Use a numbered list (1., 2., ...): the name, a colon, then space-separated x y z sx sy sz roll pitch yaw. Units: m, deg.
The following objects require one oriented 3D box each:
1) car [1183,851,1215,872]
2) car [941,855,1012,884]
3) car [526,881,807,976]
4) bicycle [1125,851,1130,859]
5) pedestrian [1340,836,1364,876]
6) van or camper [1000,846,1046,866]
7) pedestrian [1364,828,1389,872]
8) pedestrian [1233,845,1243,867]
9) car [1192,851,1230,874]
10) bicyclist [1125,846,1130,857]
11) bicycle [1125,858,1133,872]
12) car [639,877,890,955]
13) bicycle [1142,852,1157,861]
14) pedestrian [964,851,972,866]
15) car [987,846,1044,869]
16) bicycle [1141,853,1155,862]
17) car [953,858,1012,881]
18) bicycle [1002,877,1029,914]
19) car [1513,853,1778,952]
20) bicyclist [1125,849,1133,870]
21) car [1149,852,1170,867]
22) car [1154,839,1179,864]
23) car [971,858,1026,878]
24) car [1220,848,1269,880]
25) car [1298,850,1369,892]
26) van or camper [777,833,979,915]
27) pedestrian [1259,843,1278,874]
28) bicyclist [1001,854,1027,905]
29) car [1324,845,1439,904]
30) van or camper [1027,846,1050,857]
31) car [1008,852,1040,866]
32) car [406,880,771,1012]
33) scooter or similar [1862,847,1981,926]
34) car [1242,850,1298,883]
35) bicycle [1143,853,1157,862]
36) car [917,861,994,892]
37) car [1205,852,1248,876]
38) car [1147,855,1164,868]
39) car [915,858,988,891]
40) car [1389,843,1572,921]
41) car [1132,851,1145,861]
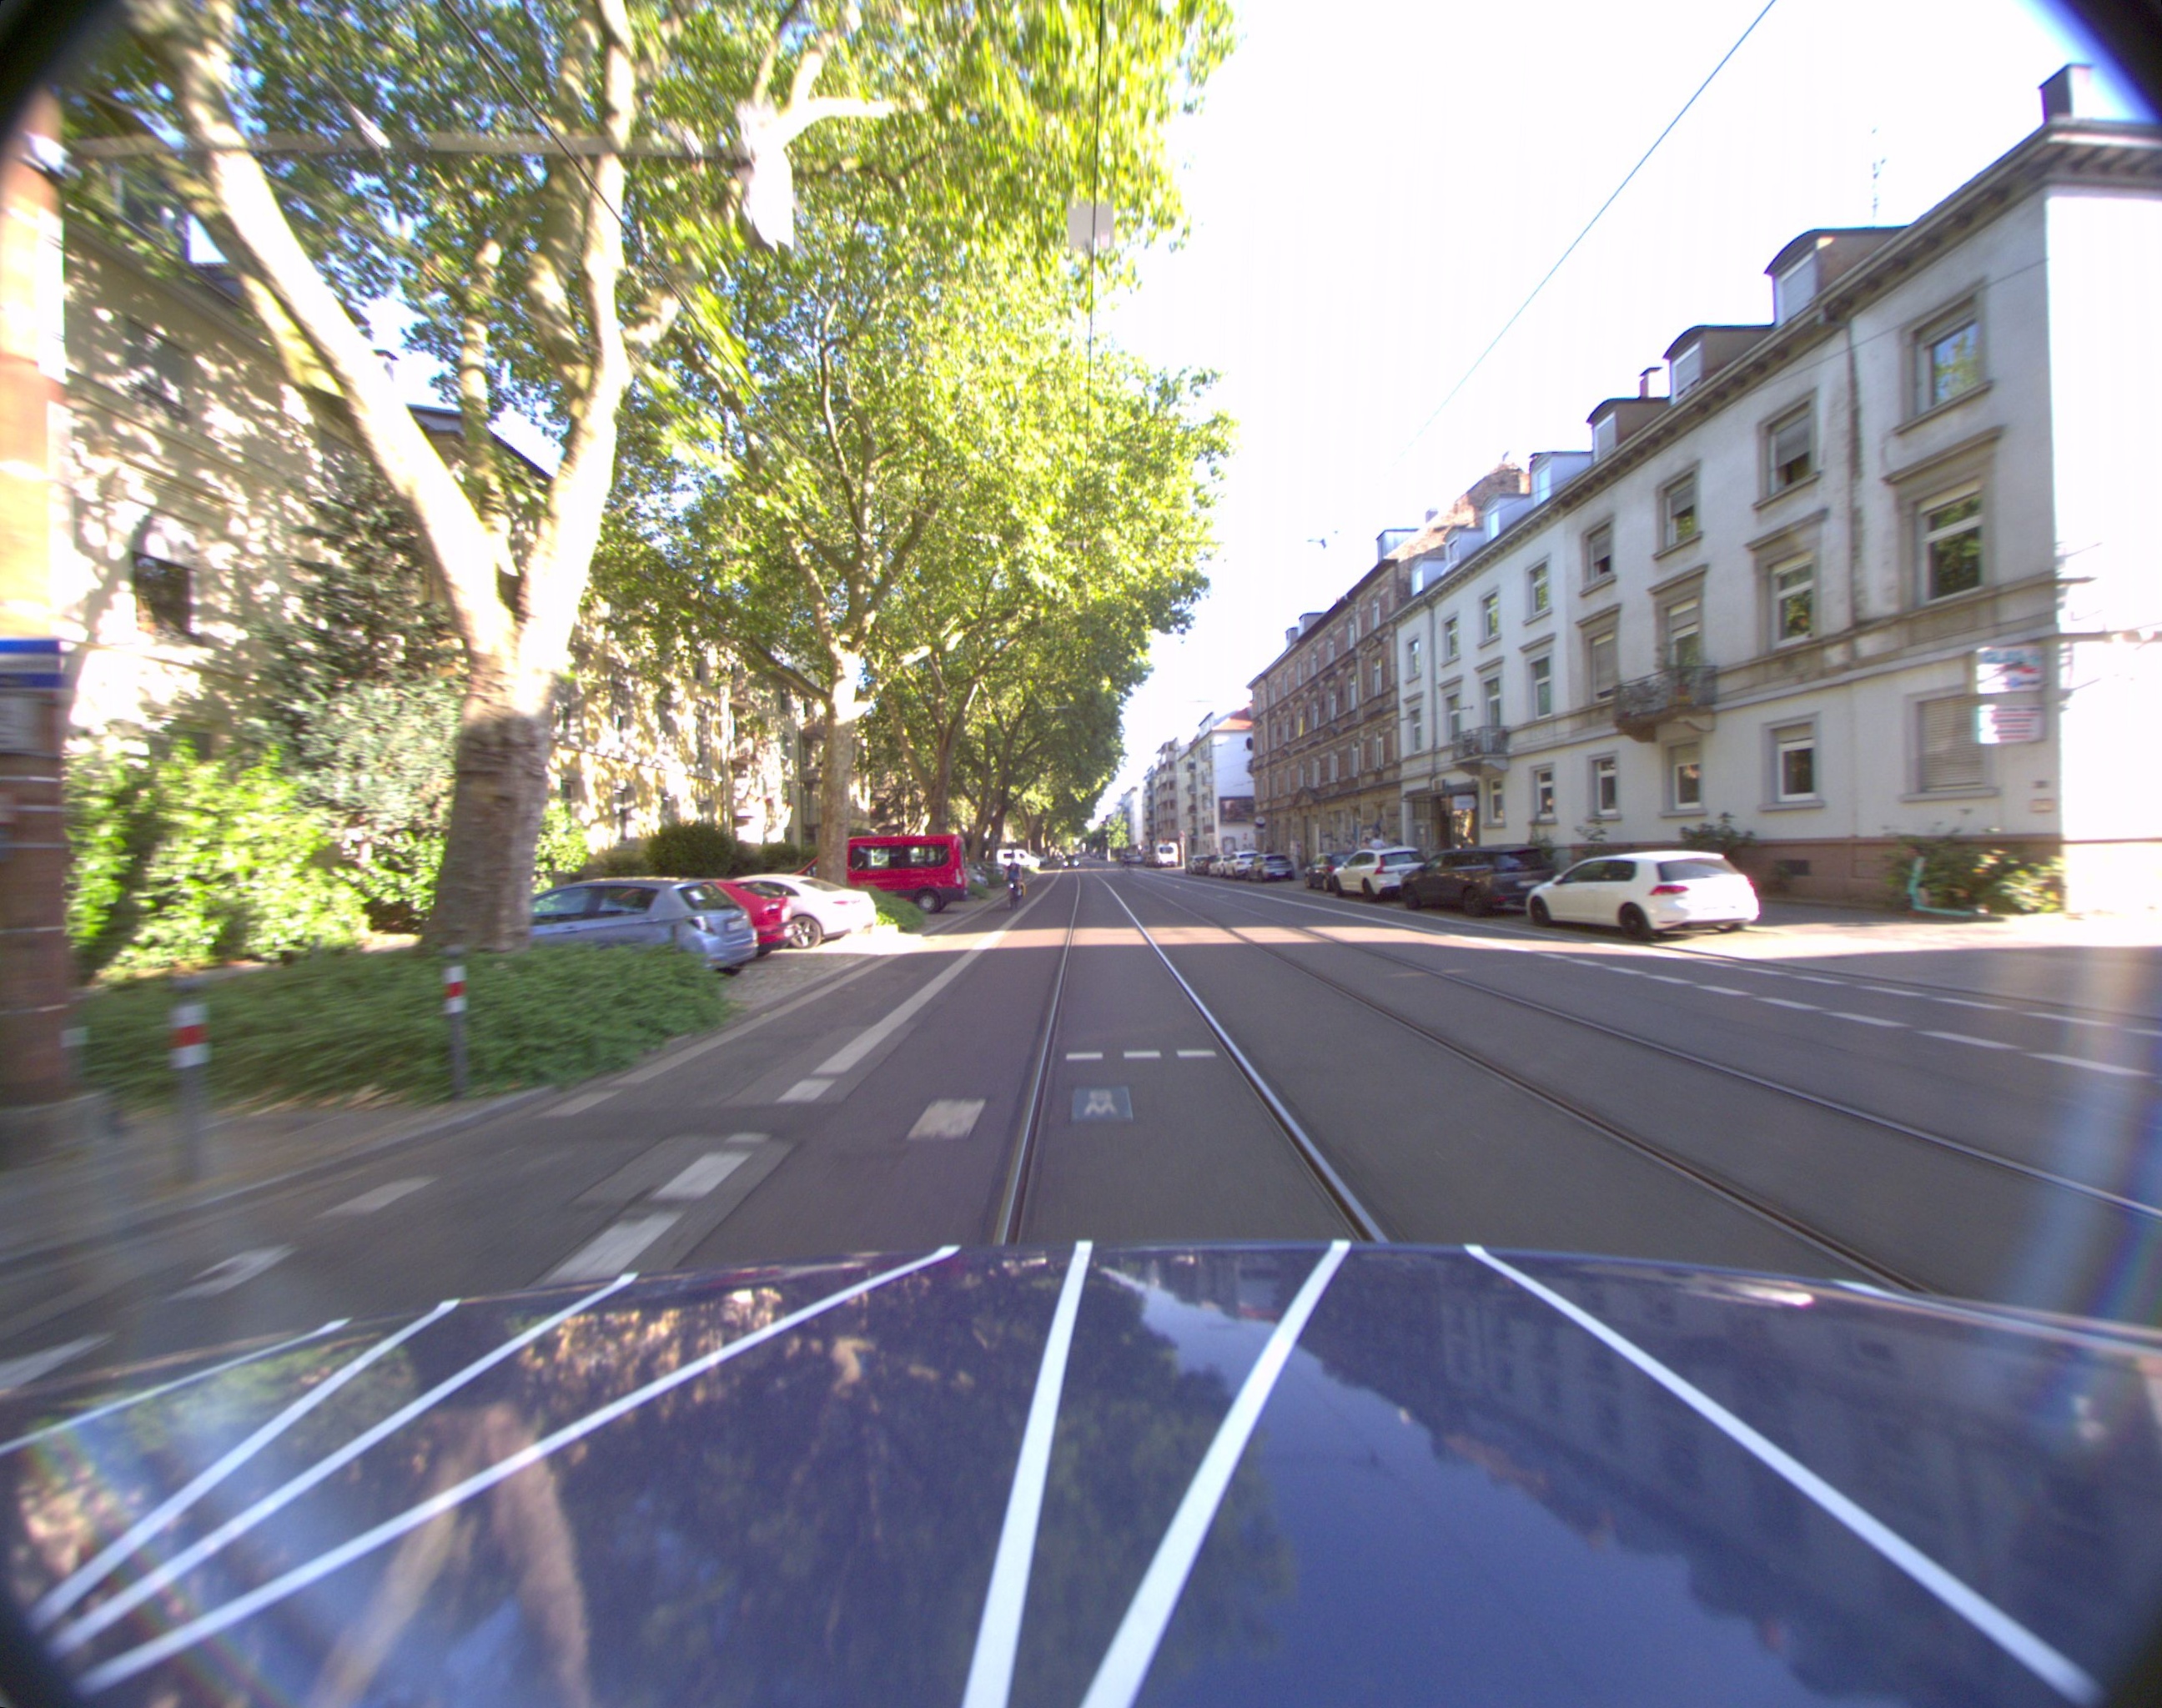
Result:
1. car: 9.439 0.582 60.807 1.745 1.483 4.044 -3 1 -2
2. car: -6.535 0.962 47.833 4.274 1.709 1.848 1 0 -3
3. car: -6.780 1.190 12.769 3.762 1.379 1.680 0 0 -6
4. bicycle: 6.688 0.126 109.642 0.422 1.144 2.231 -1 1 -1
5. pedestrian: 12.629 0.075 35.431 0.761 1.810 0.829 -2 1 -3
6. van or camper: -7.832 0.241 102.933 6.048 2.476 2.107 -1 1 -1
7. pedestrian: 13.767 -0.179 35.451 0.761 2.002 0.830 -2 1 -3
8. pedestrian: 12.922 0.151 62.573 0.658 1.738 0.894 -3 -1 3
9. car: 9.491 0.597 55.689 1.745 1.553 4.785 -3 1 -2
10. bicyclist: 6.733 -0.361 109.555 0.584 1.473 0.807 -1 1 -1
11. bicycle: 3.818 0.874 60.368 0.482 1.079 1.846 -2 0 0
12. car: -6.209 1.195 15.247 4.296 1.409 1.760 0 0 1
13. bicycle: 9.117 0.326 100.805 1.897 1.032 0.402 -3 1 6
14. pedestrian: -12.553 0.464 84.515 0.594 1.642 0.707 -3 2 -26
15. car: -7.225 0.395 84.432 6.006 2.269 2.006 -2 0 1
16. bicycle: 9.214 0.471 104.322 1.935 1.112 0.440 -3 1 6
17. car: -6.861 1.092 53.221 4.040 1.471 1.680 -1 0 -6
18. bicycle: -2.083 1.307 24.500 0.596 0.998 2.511 -5 0 0
19. car: 10.113 0.767 14.107 1.691 1.468 4.257 -3 0 0
20. bicyclist: 3.803 0.432 60.261 0.474 1.626 0.800 -2 1 0
21. car: 8.946 0.600 86.445 1.723 1.622 4.345 -2 0 -2
22. car: 9.103 -0.232 81.298 2.070 2.521 5.666 -2 0 1
23. car: -6.770 1.152 62.732 4.104 1.483 1.832 -2 0 8
24. car: 9.634 0.534 45.192 1.791 1.713 4.717 -3 1 0
25. car: 9.791 0.606 29.710 1.557 1.506 3.924 -1 0 2
26. van or camper: -6.307 0.620 24.240 5.831 2.504 2.287 0 0 -3
27. pedestrian: 11.302 0.267 45.816 0.686 1.790 1.056 -3 1 -9
28. bicyclist: -2.169 0.818 24.652 0.616 1.543 0.935 -7 1 0
29. car: 9.651 0.597 24.832 1.861 1.693 4.762 -1 0 0
30. van or camper: -8.375 -0.500 149.598 4.389 2.097 1.837 -1 1 -4
31. car: -7.253 0.665 96.809 3.966 1.646 1.795 -2 1 -4
32. car: -6.405 1.163 10.195 3.761 1.499 1.681 -1 0 0
33. scooter or similar: 14.346 0.520 13.022 0.447 1.272 1.576 -2 0 8
34. car: 9.760 0.606 39.604 1.667 1.512 4.063 -3 1 -3
35. bicycle: 9.251 0.486 102.164 1.793 1.112 0.425 -3 1 6
36. car: -6.305 1.127 38.369 3.604 1.509 1.693 0 0 -1
37. car: 9.592 0.626 50.335 1.704 1.412 3.998 -3 1 -5
38. car: 9.028 0.901 92.434 1.722 1.448 4.572 -2 0 1
39. car: -6.973 1.091 41.066 3.604 1.590 1.540 -2 1 0
40. car: 9.936 0.625 19.414 1.862 1.693 4.657 -2 0 -6
41. car: 8.796 0.305 116.851 1.694 1.482 4.727 -2 0 0
